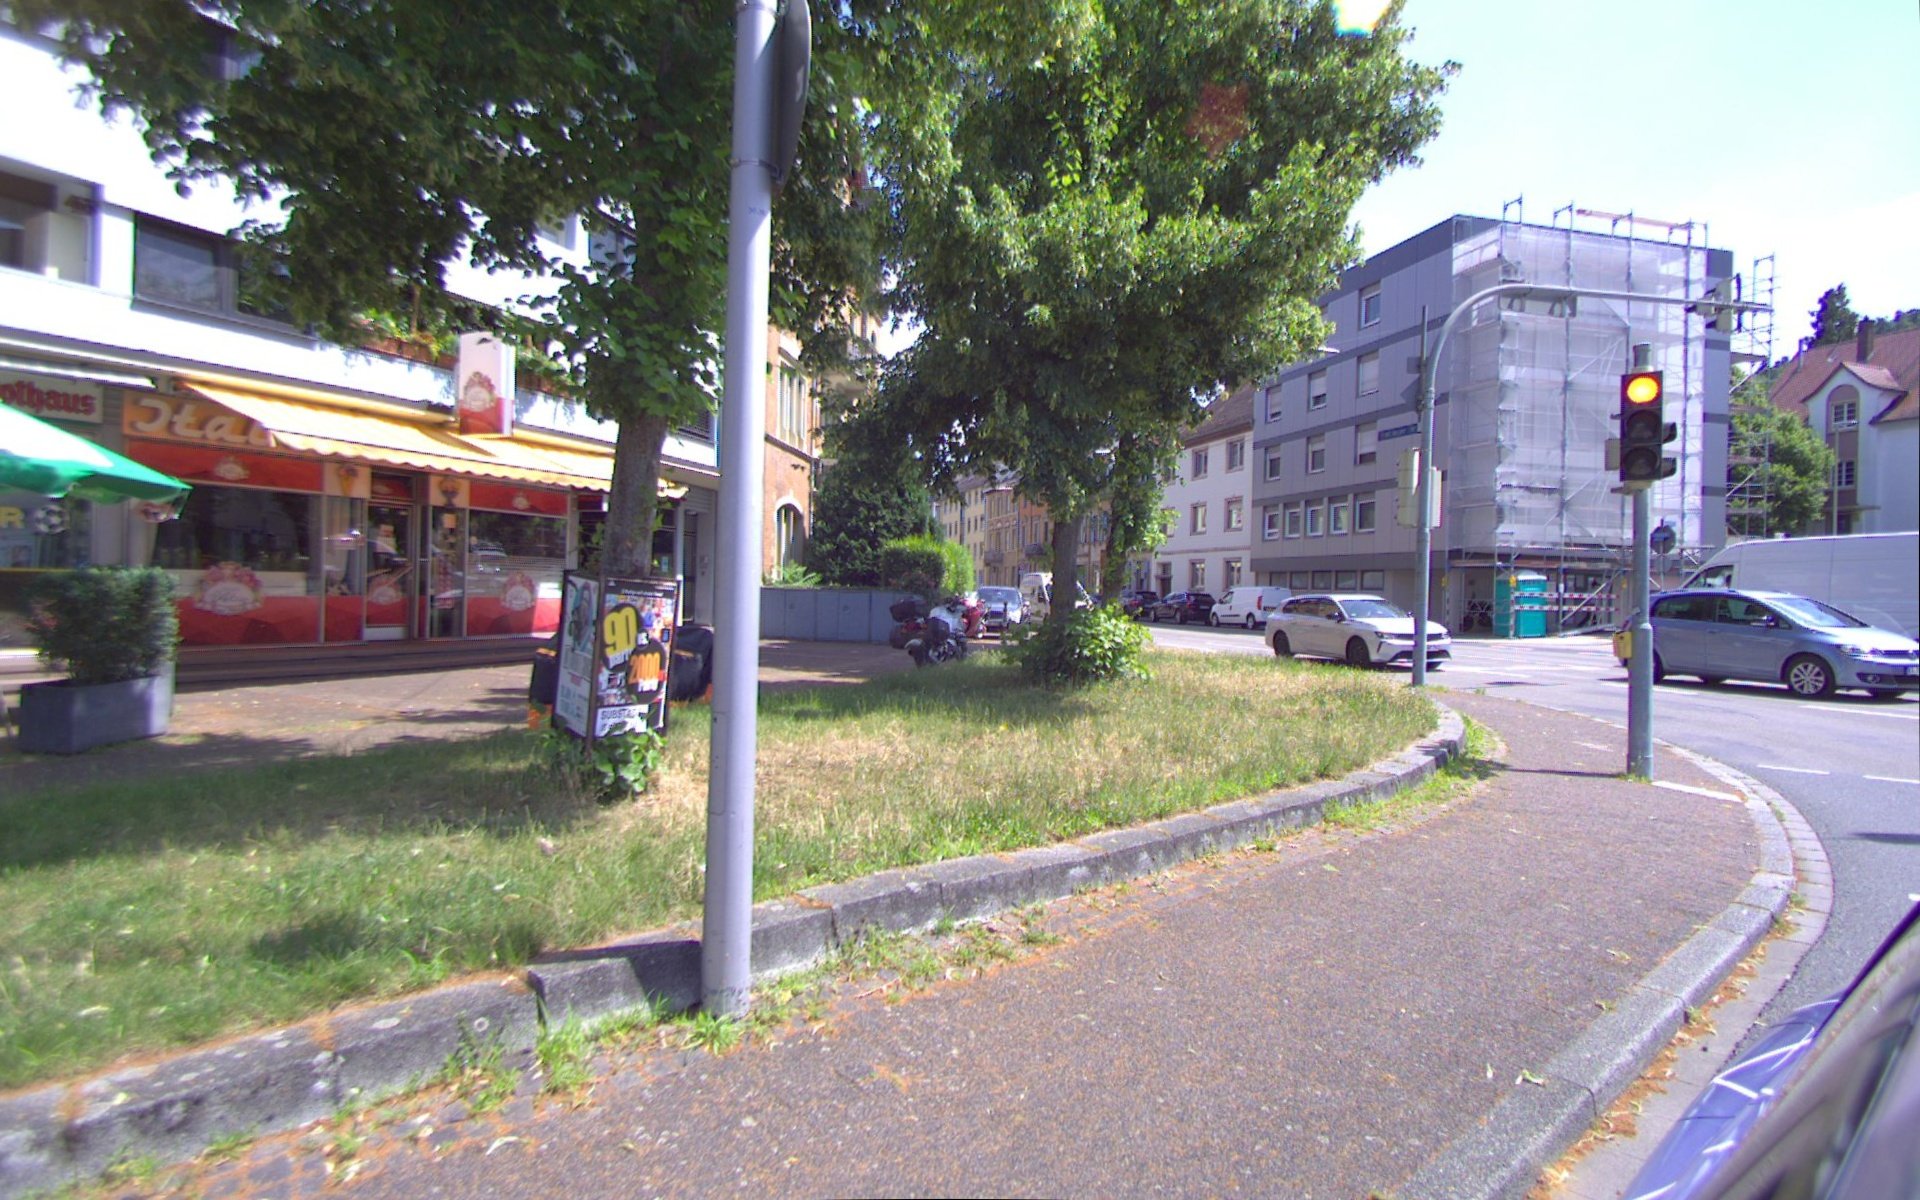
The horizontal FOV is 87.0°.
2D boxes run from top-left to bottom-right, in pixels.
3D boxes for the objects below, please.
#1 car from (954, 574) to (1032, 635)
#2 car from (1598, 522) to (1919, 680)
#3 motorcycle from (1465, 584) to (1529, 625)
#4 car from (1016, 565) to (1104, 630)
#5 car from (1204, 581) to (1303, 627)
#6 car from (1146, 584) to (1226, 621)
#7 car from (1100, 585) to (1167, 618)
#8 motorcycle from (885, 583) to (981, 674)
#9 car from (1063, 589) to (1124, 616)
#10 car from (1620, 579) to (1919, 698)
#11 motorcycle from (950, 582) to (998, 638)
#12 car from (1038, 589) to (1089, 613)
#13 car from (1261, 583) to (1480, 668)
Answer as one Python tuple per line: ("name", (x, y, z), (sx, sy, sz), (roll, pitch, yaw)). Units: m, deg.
("car", (1.053, 0.146, 29.135), (1.809, 1.568, 5.146), (1, -1, 7))
("car", (15.883, -0.033, 18.526), (2.176, 2.532, 7.571), (0, 1, -15))
("motorcycle", (19.610, 0.146, 37.020), (2.021, 1.490, 0.874), (0, 1, 25))
("car", (3.748, -0.144, 39.139), (1.867, 2.302, 5.683), (1, 1, -10))
("car", (12.742, 0.123, 44.288), (1.879, 1.848, 4.799), (2, 1, -15))
("car", (11.092, 0.093, 49.966), (1.851, 1.661, 4.673), (2, 1, -15))
("car", (9.551, 0.072, 56.107), (1.851, 1.661, 4.828), (2, 1, -13))
("motorcycle", (-0.385, 0.398, 16.043), (0.905, 1.329, 2.214), (0, 1, 16))
("car", (8.227, 0.116, 62.832), (1.831, 1.424, 4.849), (5, 0, -16))
("car", (12.701, 0.483, 15.644), (1.723, 1.588, 4.009), (0, 1, -16))
("motorcycle", (0.375, 0.248, 25.282), (0.917, 1.319, 2.275), (1, -1, 8))
("car", (6.950, 0.052, 68.337), (1.831, 1.424, 4.341), (5, 0, -17))
("car", (8.251, 0.438, 20.859), (1.866, 1.516, 4.497), (1, 1, -14))
